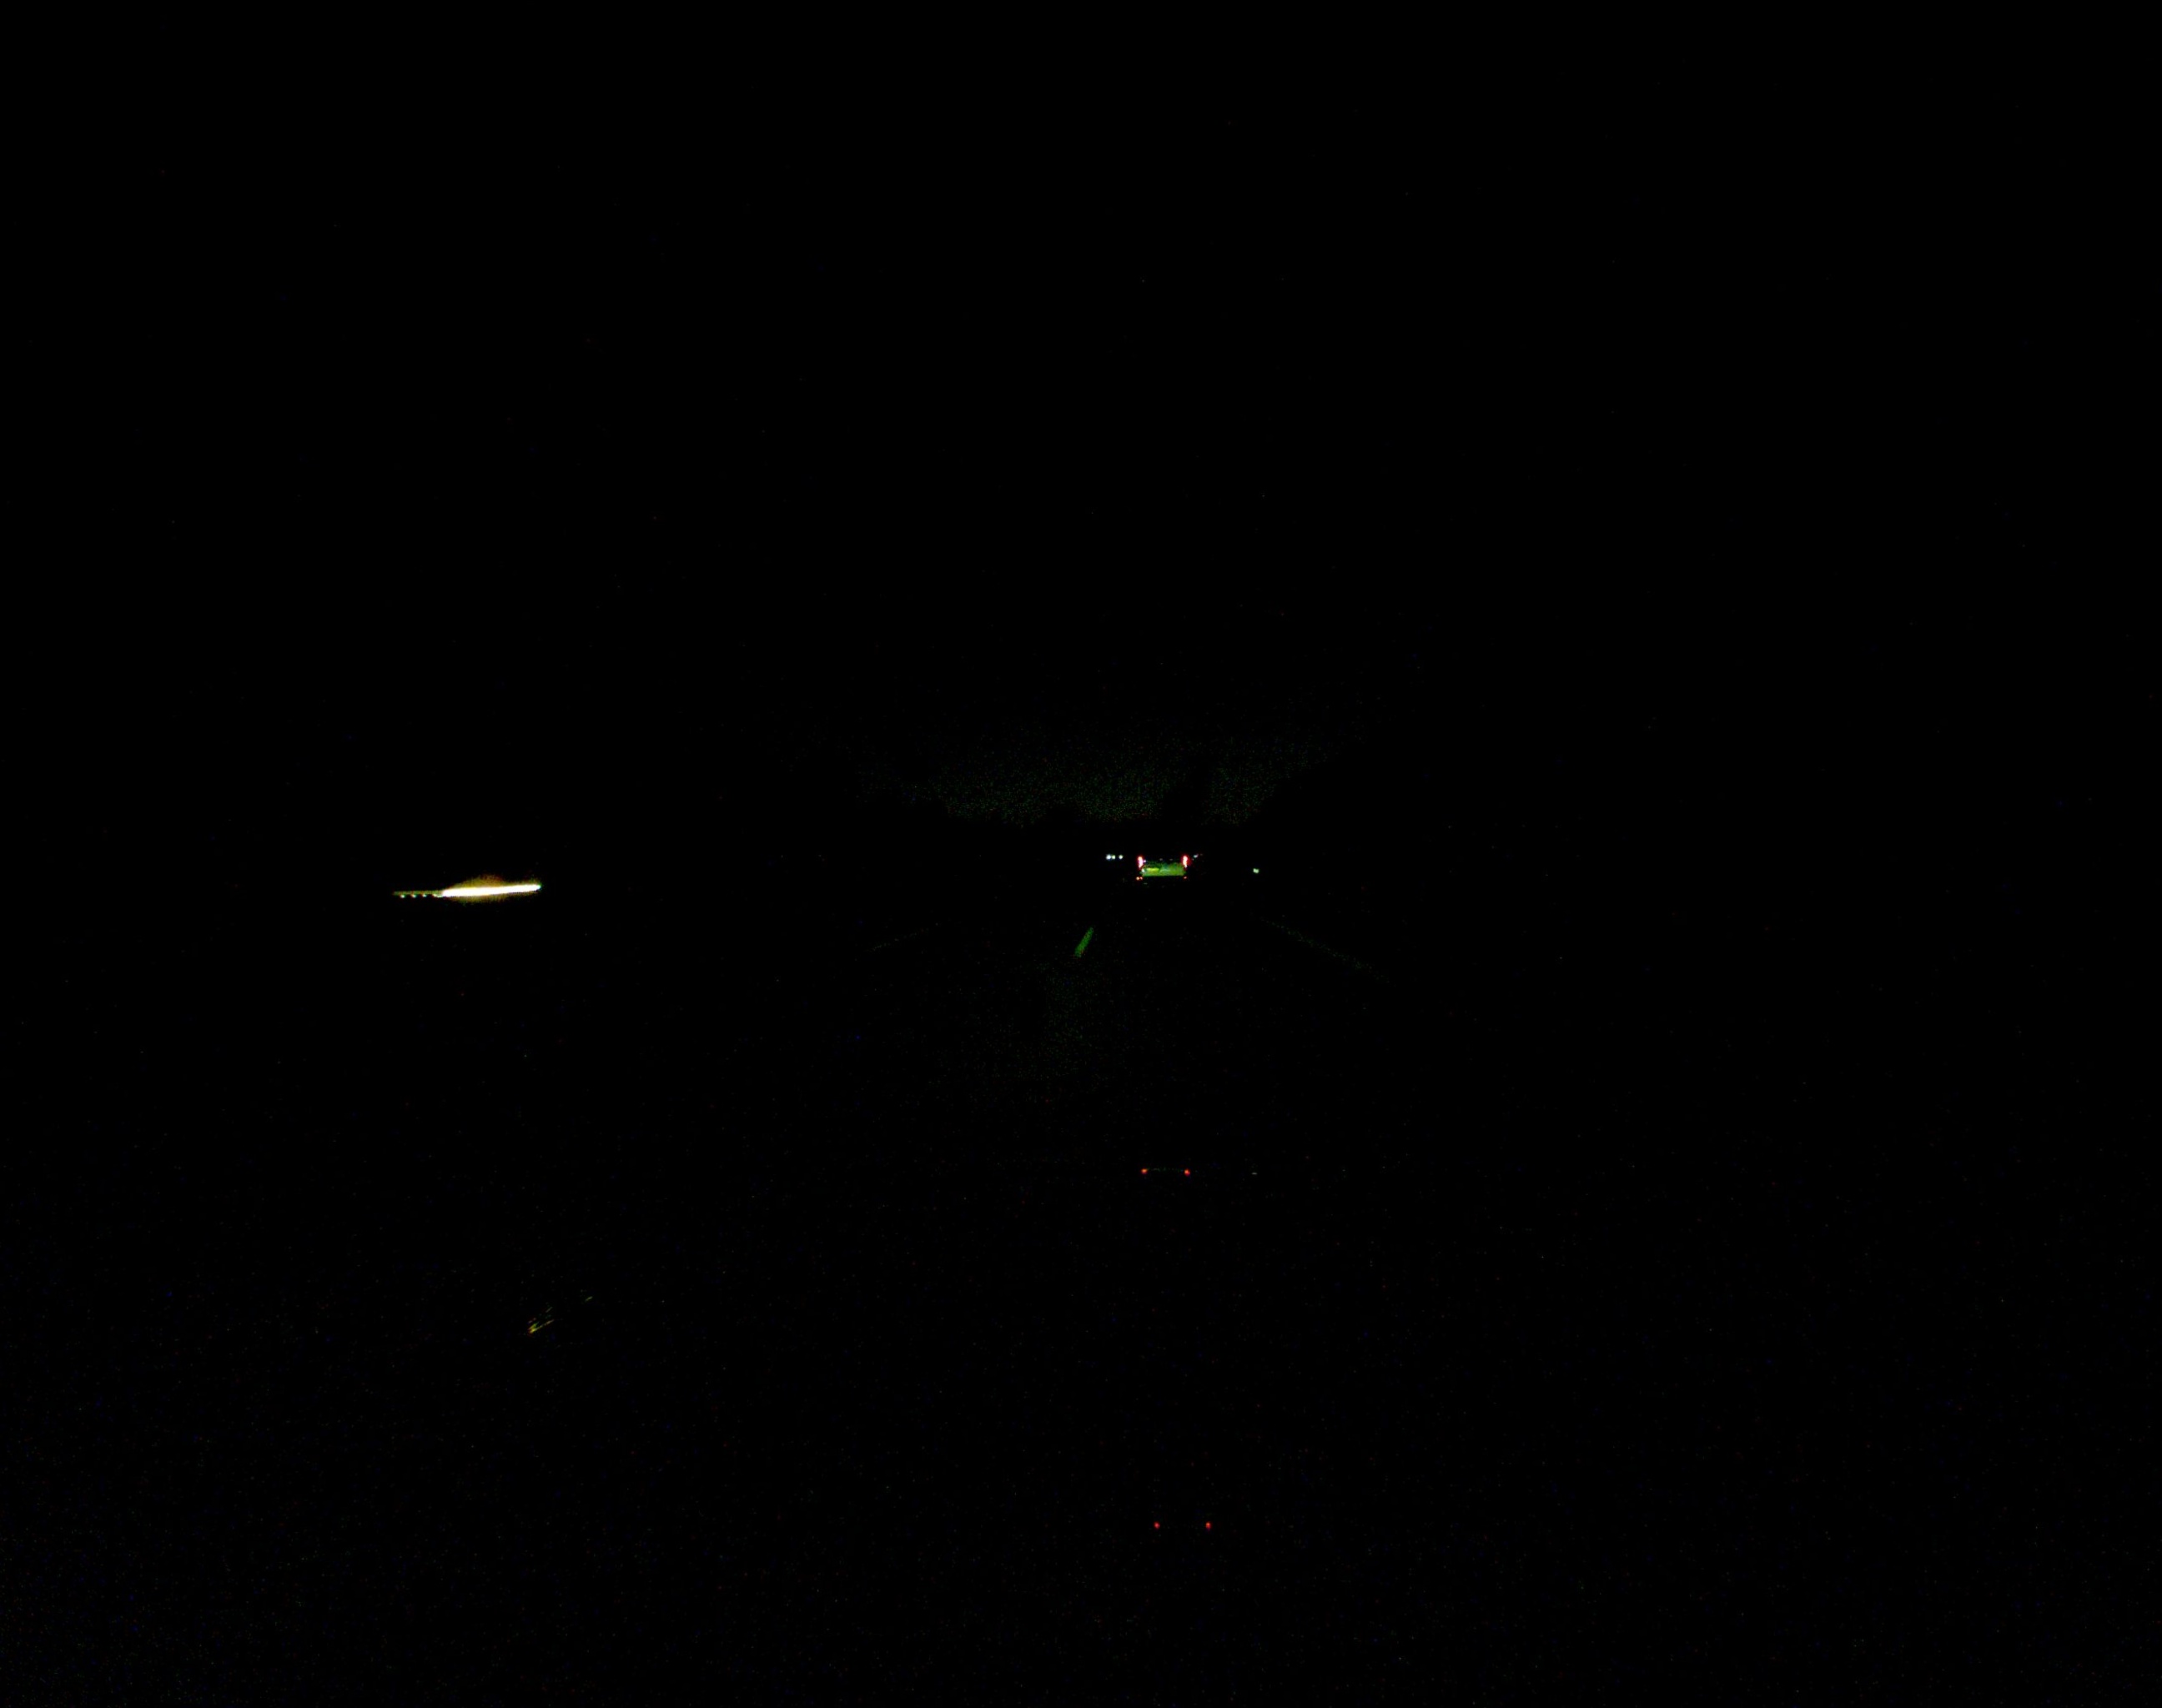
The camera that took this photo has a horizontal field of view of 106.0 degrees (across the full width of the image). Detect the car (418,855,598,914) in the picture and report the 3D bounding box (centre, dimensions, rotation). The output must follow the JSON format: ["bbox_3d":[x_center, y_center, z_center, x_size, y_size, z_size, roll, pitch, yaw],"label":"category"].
[{"bbox_3d":[-16.931,0.849,24.419,1.985,1.580,4.588,-1,-1,3],"label":"car"}]

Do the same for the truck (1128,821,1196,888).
[{"bbox_3d":[3.506,0.059,37.030,2.619,2.624,8.690,-1,-1,3],"label":"truck"}]
